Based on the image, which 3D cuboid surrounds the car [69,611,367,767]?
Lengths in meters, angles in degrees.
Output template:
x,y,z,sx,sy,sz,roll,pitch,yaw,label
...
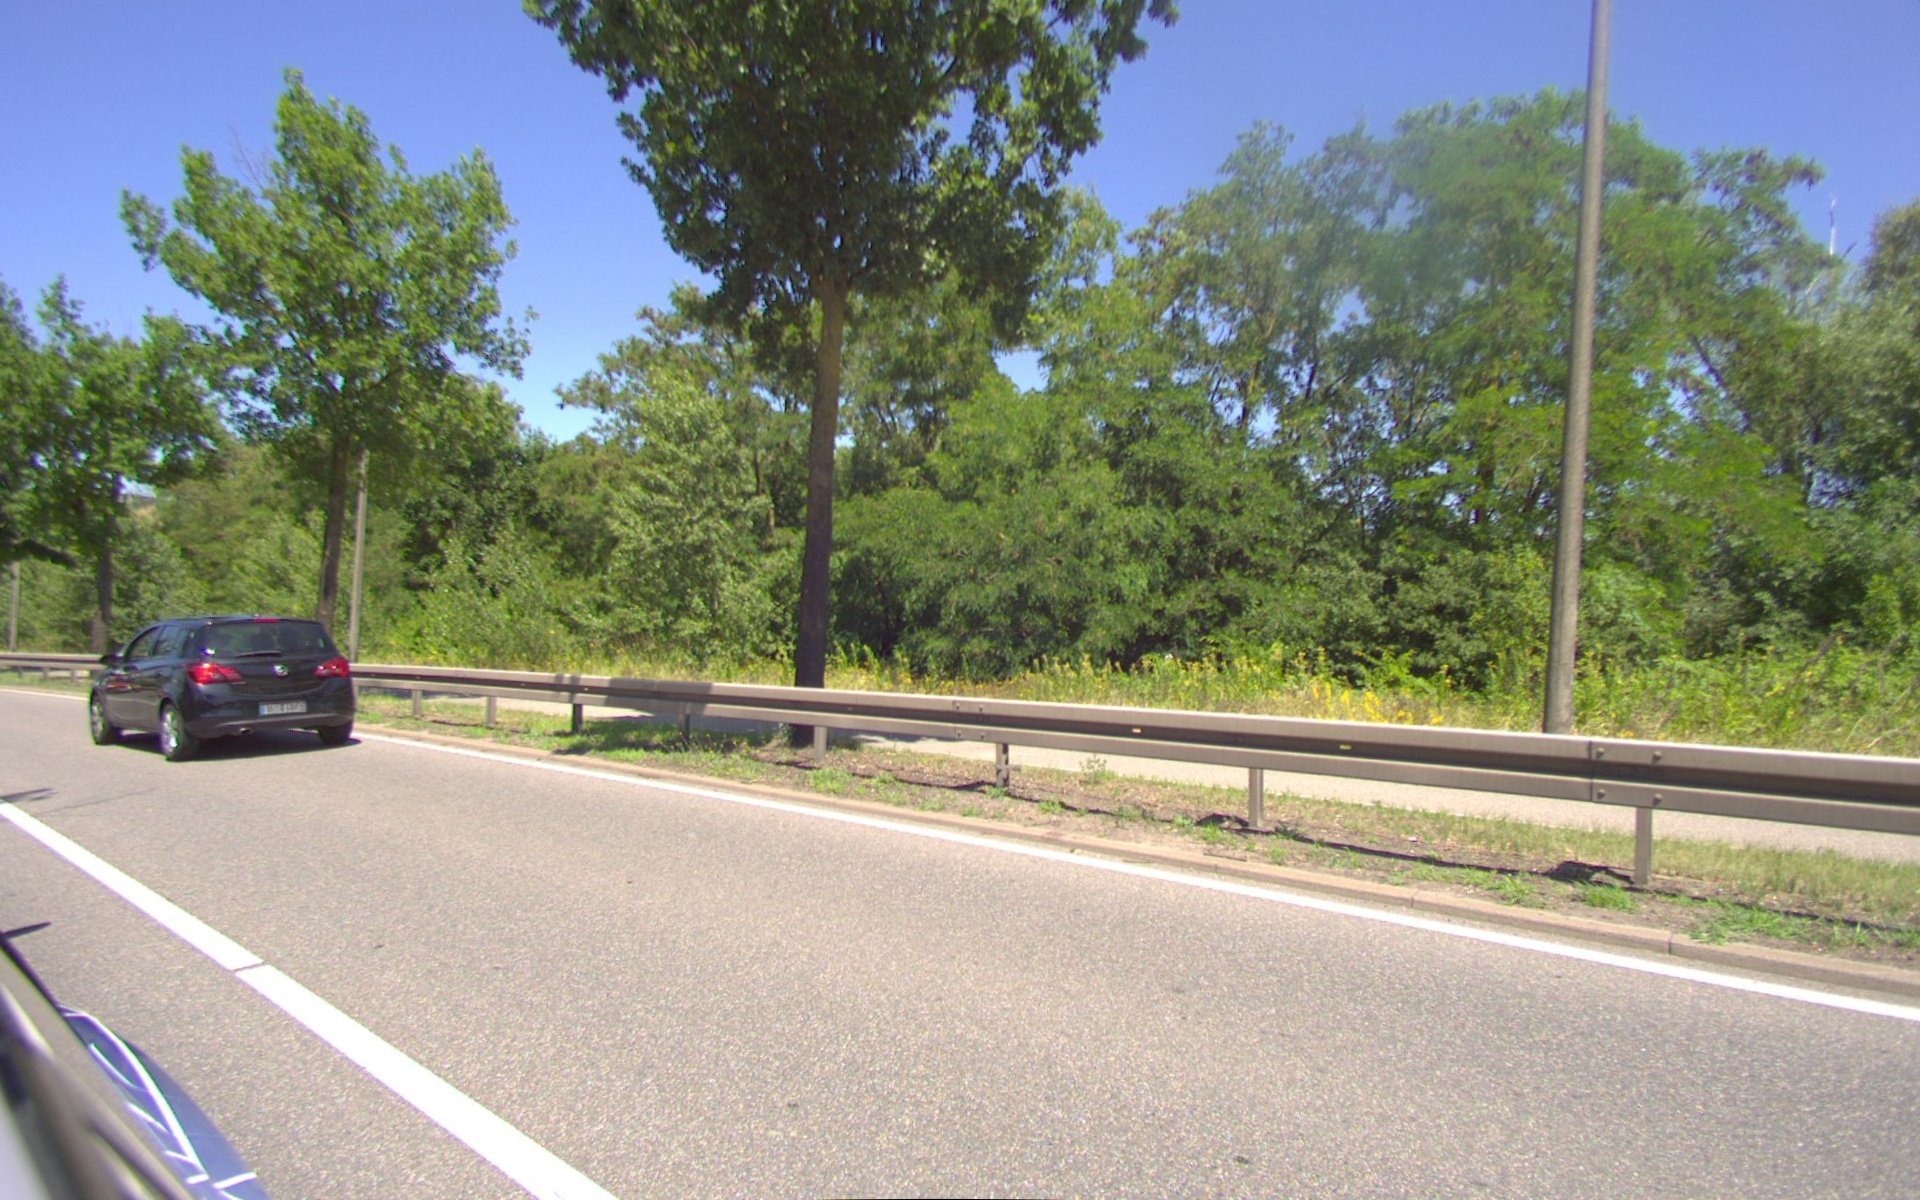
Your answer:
x,y,z,sx,sy,sz,roll,pitch,yaw,label
-8.539,0.899,11.575,3.726,1.503,1.729,-1,-1,36,car
